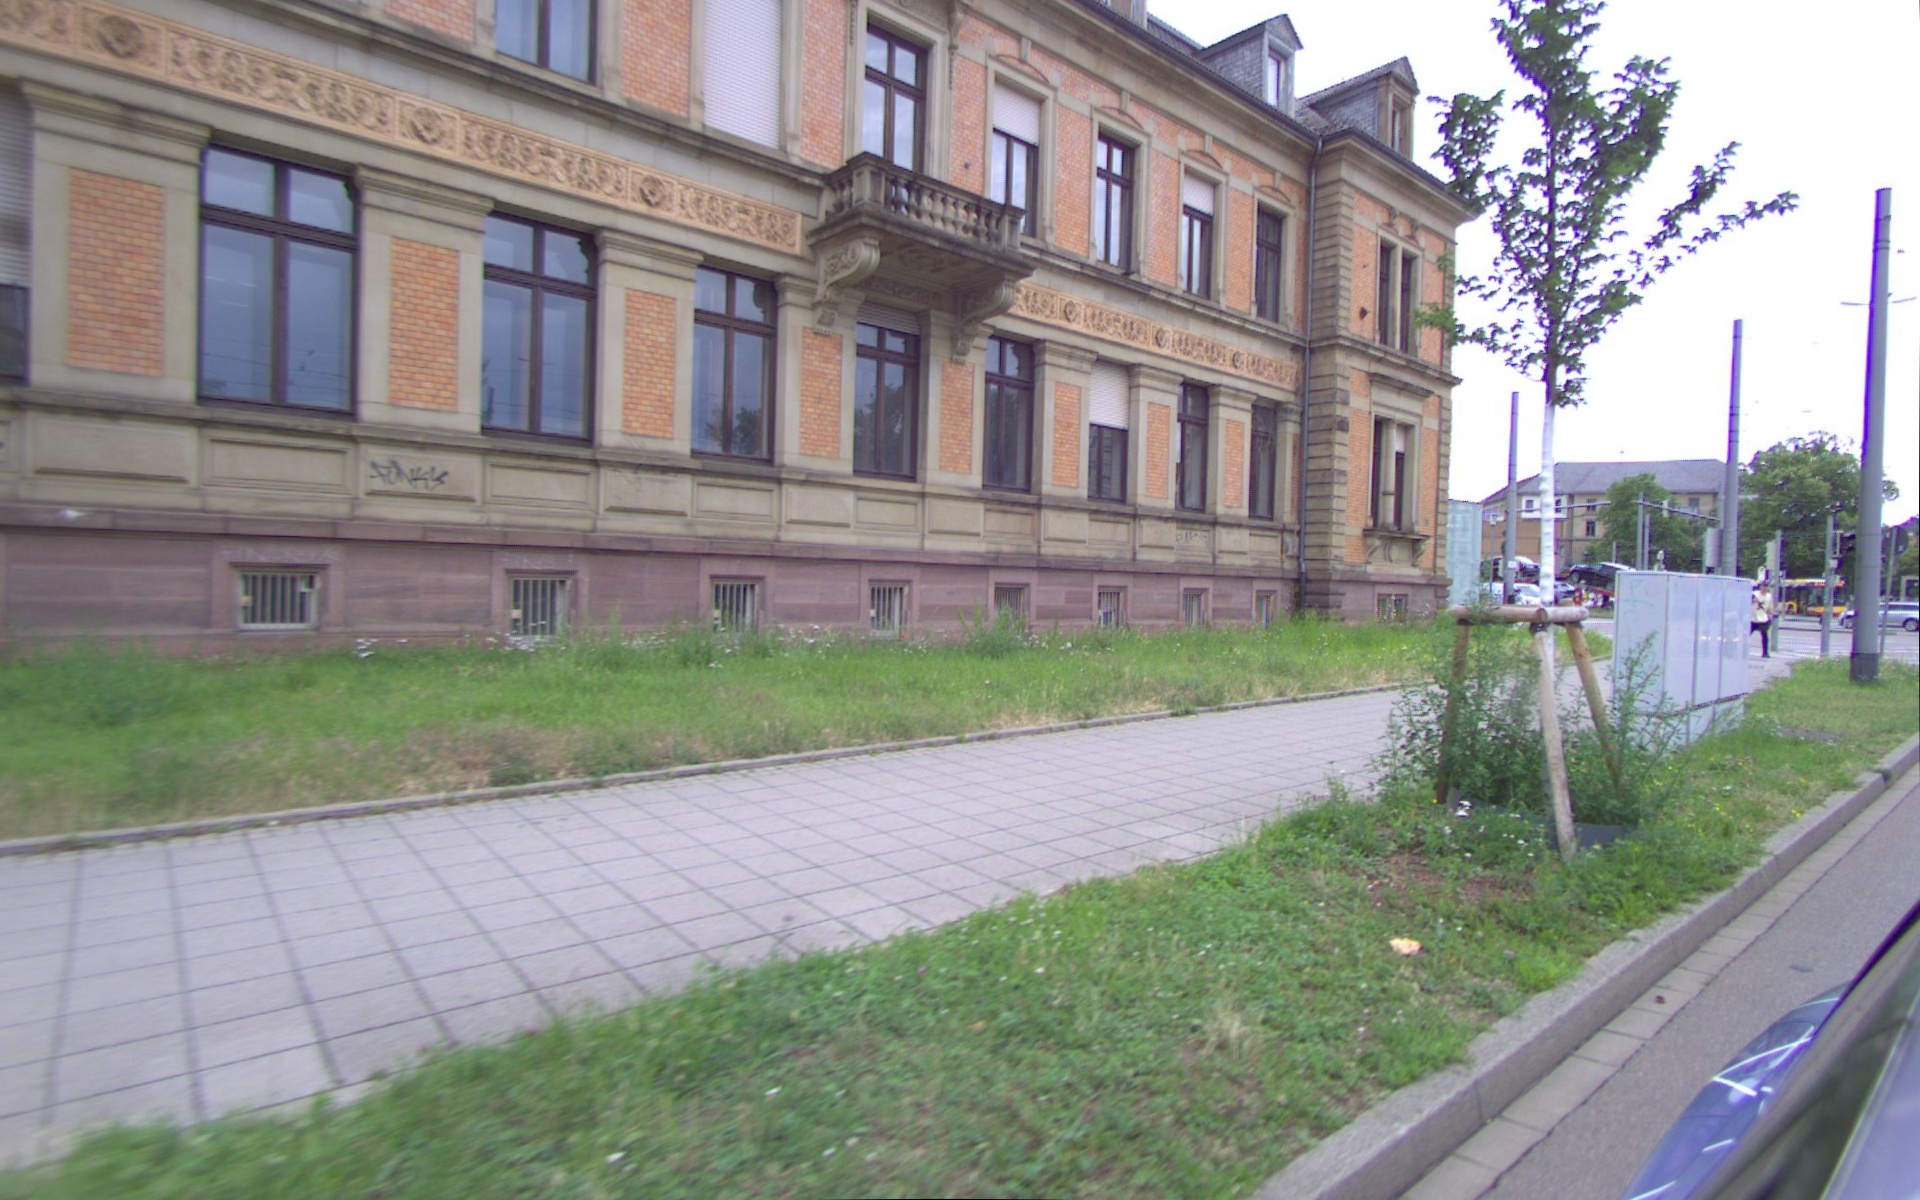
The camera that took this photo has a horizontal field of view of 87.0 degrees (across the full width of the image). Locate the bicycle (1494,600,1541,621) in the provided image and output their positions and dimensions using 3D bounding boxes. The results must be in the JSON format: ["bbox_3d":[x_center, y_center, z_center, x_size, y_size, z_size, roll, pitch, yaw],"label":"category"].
[{"bbox_3d":[25.582,0.483,46.448,1.788,0.850,0.769,3,1,-15],"label":"bicycle"}]

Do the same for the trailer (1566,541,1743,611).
[{"bbox_3d":[43.390,-1.536,63.773,2.934,4.022,9.575,0,2,-14],"label":"trailer"}]

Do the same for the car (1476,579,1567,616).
[{"bbox_3d":[32.108,-0.160,58.017,1.958,1.966,4.534,1,1,-13],"label":"car"}]

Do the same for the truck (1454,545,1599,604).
[{"bbox_3d":[40.834,-1.857,73.551,2.952,3.968,10.479,0,2,-12],"label":"truck"}]

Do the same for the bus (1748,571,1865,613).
[{"bbox_3d":[67.987,-0.780,81.725,2.827,3.115,11.954,1,2,18],"label":"bus"}]

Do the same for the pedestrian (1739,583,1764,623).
[{"bbox_3d":[39.421,0.151,50.417,0.773,1.967,0.972,2,1,27],"label":"pedestrian"}]

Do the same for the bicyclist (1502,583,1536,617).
[{"bbox_3d":[25.679,0.002,46.475,1.078,1.539,0.762,1,1,-15],"label":"bicyclist"}]

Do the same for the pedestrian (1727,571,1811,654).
[{"bbox_3d":[19.221,0.276,24.075,0.870,1.890,1.287,1,1,-3],"label":"pedestrian"}]

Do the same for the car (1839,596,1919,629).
[{"bbox_3d":[47.338,0.643,50.590,1.958,1.512,4.688,3,-1,-23],"label":"car"}]
